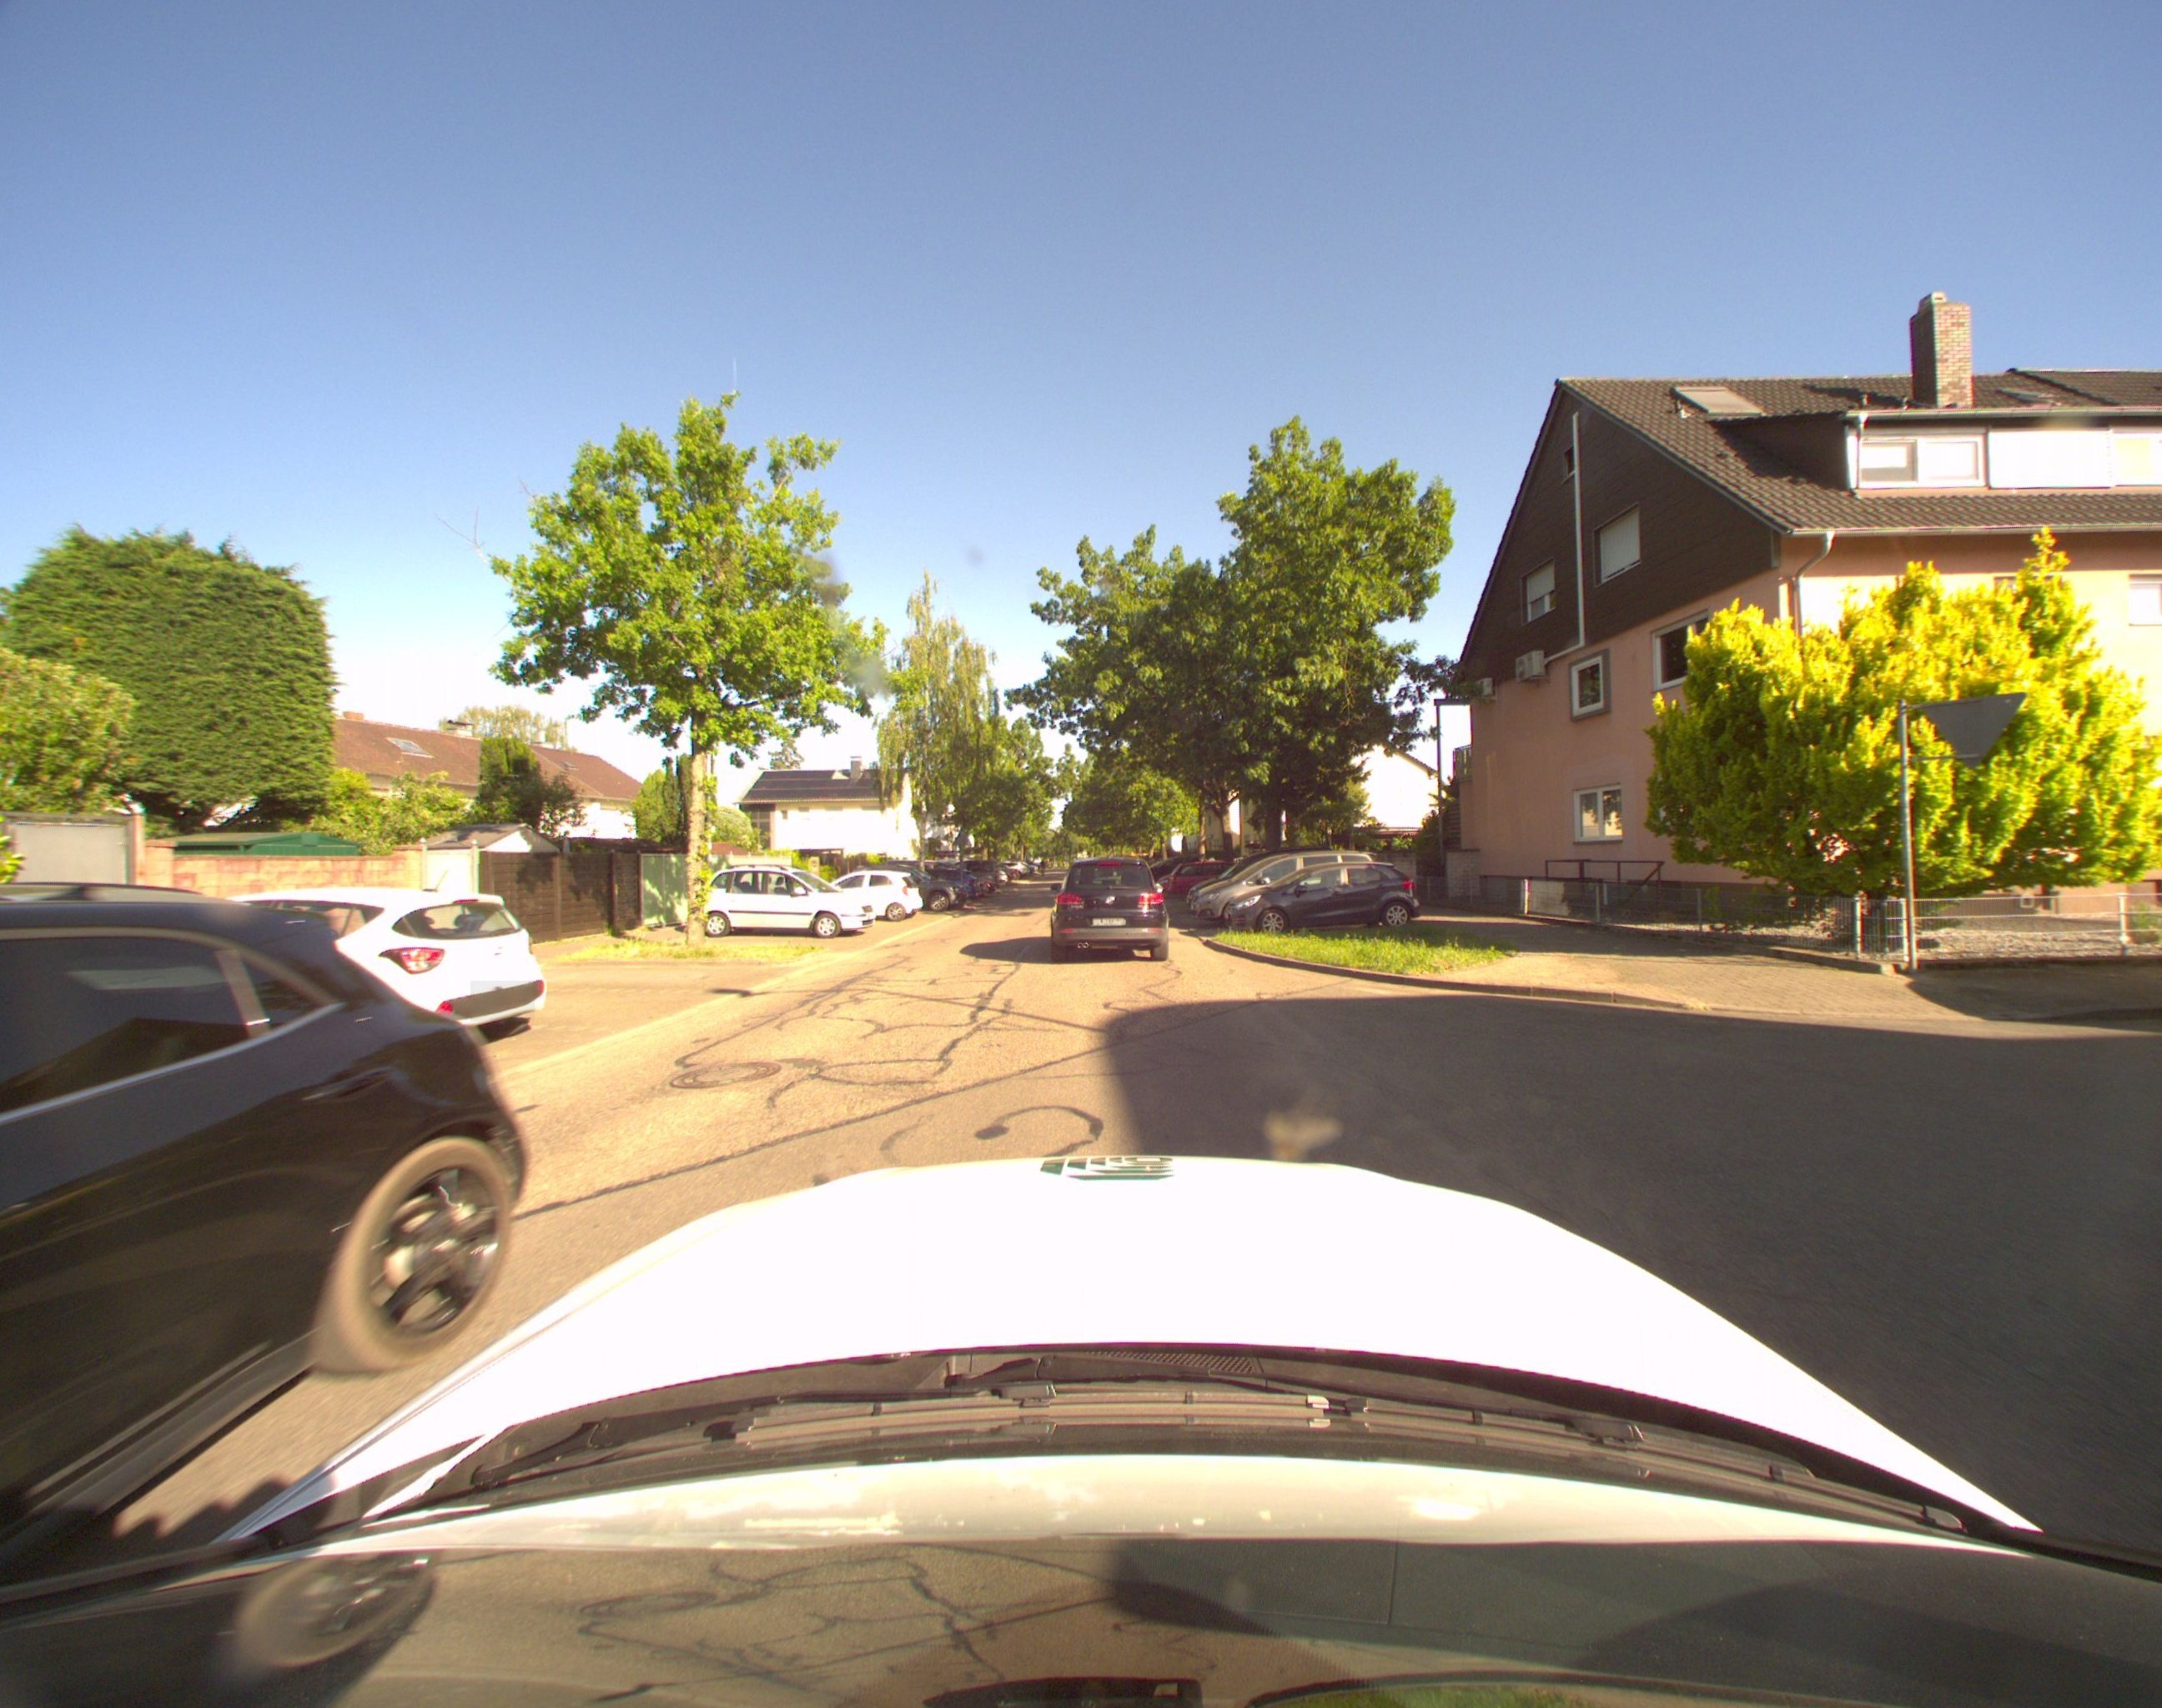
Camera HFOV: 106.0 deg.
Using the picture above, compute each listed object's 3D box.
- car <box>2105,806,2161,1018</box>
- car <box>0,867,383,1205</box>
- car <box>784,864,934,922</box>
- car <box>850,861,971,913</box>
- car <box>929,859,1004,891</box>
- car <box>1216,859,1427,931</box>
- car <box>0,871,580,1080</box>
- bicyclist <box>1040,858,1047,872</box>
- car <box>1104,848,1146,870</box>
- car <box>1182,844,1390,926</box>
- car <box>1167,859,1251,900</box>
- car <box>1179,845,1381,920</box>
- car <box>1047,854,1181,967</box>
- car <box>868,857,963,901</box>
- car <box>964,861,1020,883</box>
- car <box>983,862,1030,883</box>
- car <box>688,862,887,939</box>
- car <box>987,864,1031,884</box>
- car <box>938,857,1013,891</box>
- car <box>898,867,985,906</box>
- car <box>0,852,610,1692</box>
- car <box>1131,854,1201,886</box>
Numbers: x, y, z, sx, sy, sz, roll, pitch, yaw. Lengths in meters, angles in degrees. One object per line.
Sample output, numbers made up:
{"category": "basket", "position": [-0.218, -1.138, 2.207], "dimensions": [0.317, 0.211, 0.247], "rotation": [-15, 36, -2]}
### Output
{"category": "car", "position": [12.024, 0.413, 6.496], "dimensions": [5.227, 1.847, 2.070], "rotation": [-1, -2, -3]}
{"category": "car", "position": [-6.671, 0.923, 4.708], "dimensions": [3.544, 1.613, 1.849], "rotation": [-1, -1, -6]}
{"category": "car", "position": [-6.689, 1.157, 24.850], "dimensions": [3.972, 1.640, 2.001], "rotation": [-1, -1, 2]}
{"category": "car", "position": [-6.128, 1.160, 29.609], "dimensions": [3.978, 1.731, 1.998], "rotation": [-1, -1, -4]}
{"category": "car", "position": [-6.525, 1.217, 46.706], "dimensions": [3.974, 1.720, 1.820], "rotation": [-1, -2, -1]}
{"category": "car", "position": [5.054, 0.846, 17.510], "dimensions": [3.974, 1.368, 1.846], "rotation": [-1, -1, 0]}
{"category": "car", "position": [-6.995, 0.982, 7.512], "dimensions": [3.542, 1.557, 1.850], "rotation": [-1, -1, -4]}
{"category": "bicyclist", "position": [-3.760, 1.089, 81.539], "dimensions": [0.699, 1.346, 0.506], "rotation": [-1, -3, -4]}
{"category": "car", "position": [4.298, 0.534, 79.958], "dimensions": [3.973, 2.014, 2.000], "rotation": [-2, -3, 1]}
{"category": "car", "position": [4.919, 0.735, 20.010], "dimensions": [4.617, 1.809, 1.823], "rotation": [-2, -1, 0]}
{"category": "car", "position": [4.981, 0.986, 31.860], "dimensions": [3.040, 1.507, 1.244], "rotation": [-1, -1, -6]}
{"category": "car", "position": [5.504, 0.777, 23.047], "dimensions": [5.242, 1.945, 2.000], "rotation": [-1, -1, 0]}
{"category": "car", "position": [0.397, 0.846, 14.216], "dimensions": [1.925, 1.654, 4.508], "rotation": [0, -1, -3]}
{"category": "car", "position": [-7.466, 1.122, 37.072], "dimensions": [3.979, 1.836, 1.635], "rotation": [-1, -1, -4]}
{"category": "car", "position": [-6.742, 1.378, 61.983], "dimensions": [3.973, 1.499, 2.000], "rotation": [-2, -3, 1]}
{"category": "car", "position": [-6.621, 1.635, 72.159], "dimensions": [3.984, 1.684, 1.918], "rotation": [-1, -1, -8]}
{"category": "car", "position": [-6.919, 1.076, 19.512], "dimensions": [3.972, 1.670, 2.001], "rotation": [-1, -1, 1]}
{"category": "car", "position": [-6.605, 1.812, 74.557], "dimensions": [3.984, 1.684, 1.995], "rotation": [-1, -1, -8]}
{"category": "car", "position": [-6.347, 1.210, 49.178], "dimensions": [4.381, 1.939, 1.576], "rotation": [-1, -2, -4]}
{"category": "car", "position": [-5.805, 1.346, 34.198], "dimensions": [3.363, 1.490, 1.641], "rotation": [-1, -1, -4]}
{"category": "car", "position": [-2.987, 0.821, 1.456], "dimensions": [1.903, 1.555, 3.999], "rotation": [-3, -1, 0]}
{"category": "car", "position": [5.007, 0.932, 48.484], "dimensions": [3.973, 1.775, 1.790], "rotation": [-1, -1, 1]}
